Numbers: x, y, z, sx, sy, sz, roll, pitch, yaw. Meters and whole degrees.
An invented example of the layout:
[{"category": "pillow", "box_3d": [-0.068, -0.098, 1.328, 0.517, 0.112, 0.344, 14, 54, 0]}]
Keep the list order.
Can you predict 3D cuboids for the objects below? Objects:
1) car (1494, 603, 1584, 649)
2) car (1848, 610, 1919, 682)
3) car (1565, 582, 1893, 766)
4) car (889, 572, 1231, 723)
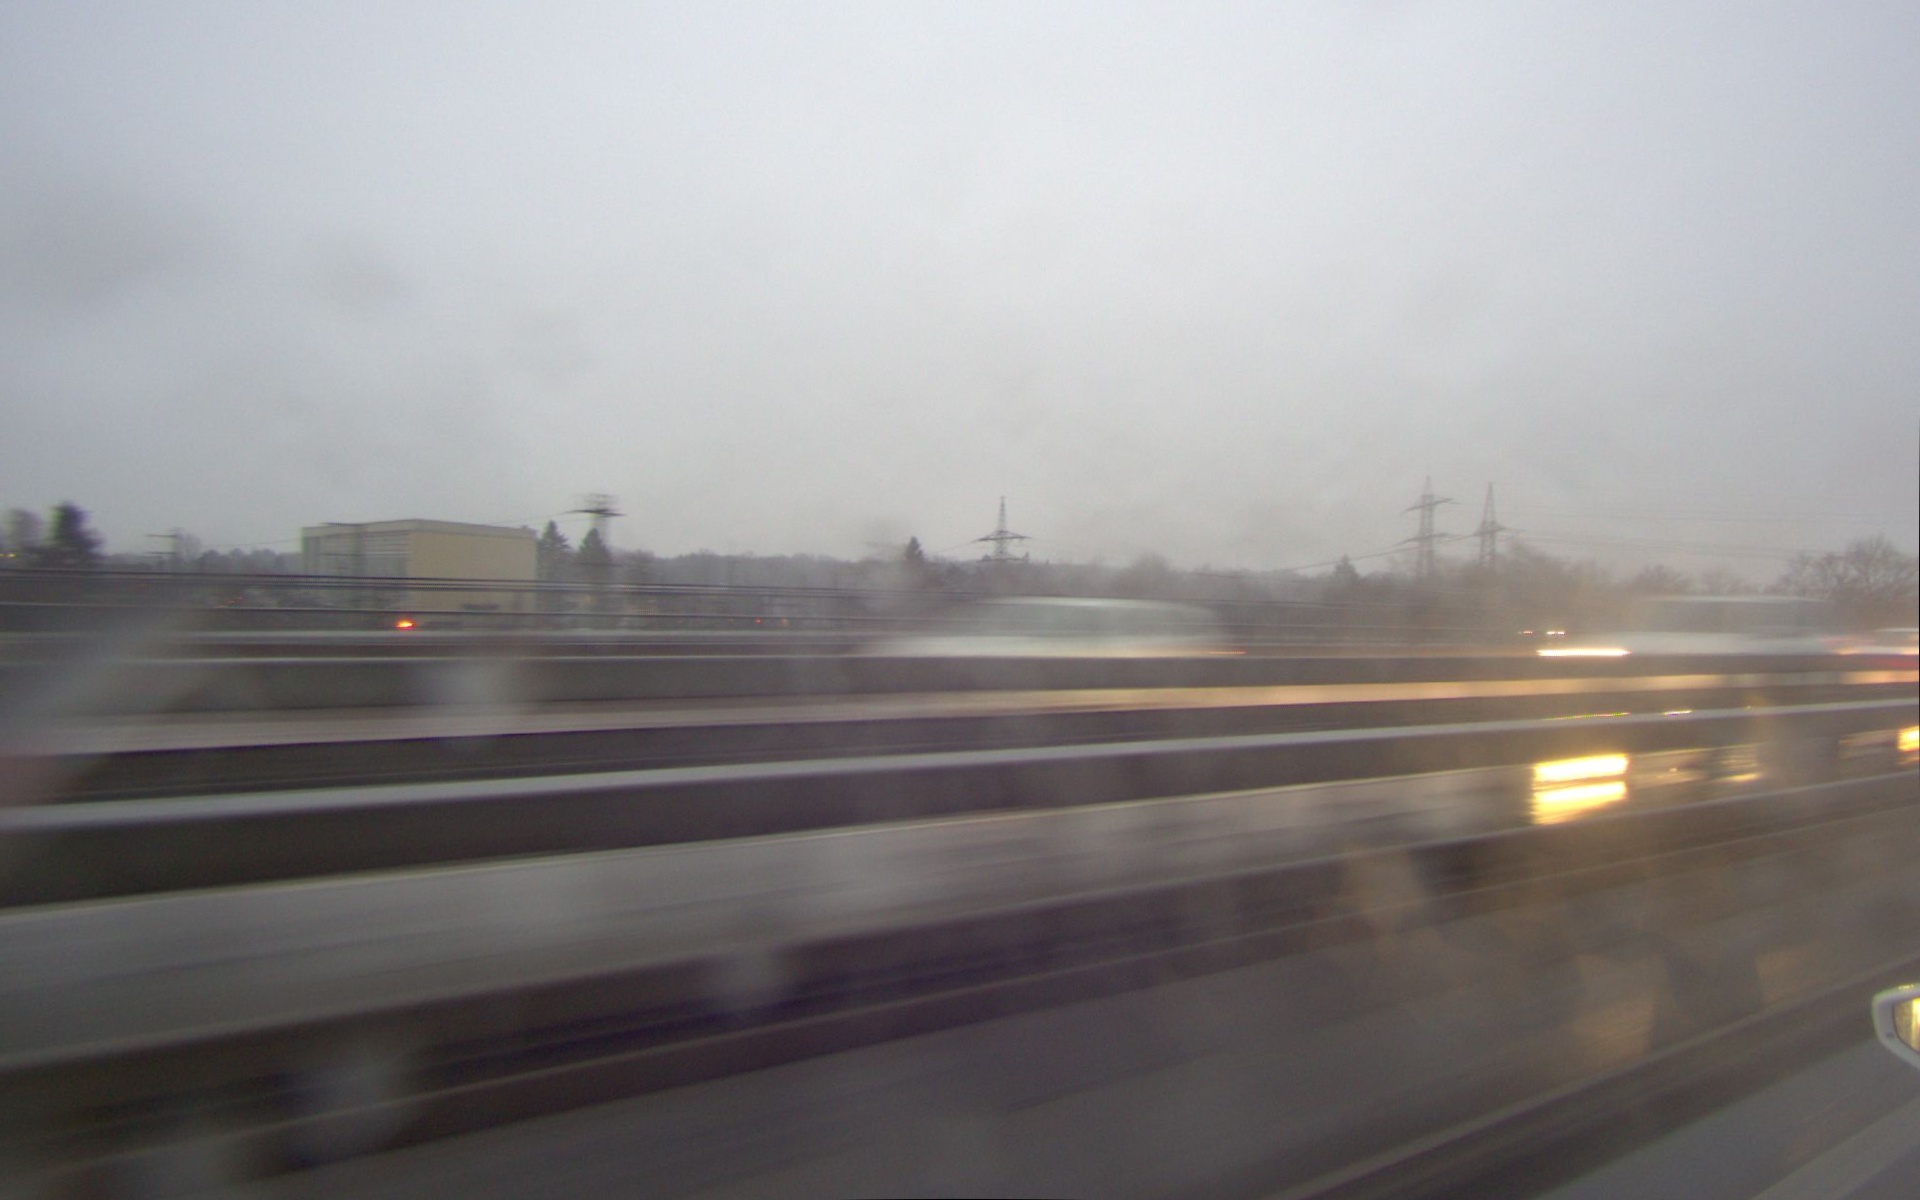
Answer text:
[{"category": "car", "box_3d": [27.353, 1.236, 47.469, 3.953, 2.040, 1.984, 2, 0, -30]}, {"category": "car", "box_3d": [26.159, 1.234, 27.399, 3.953, 1.840, 1.734, 1, 0, -30]}, {"category": "car", "box_3d": [10.668, 0.905, 13.886, 4.409, 2.177, 2.071, 1, 0, -30]}, {"category": "car", "box_3d": [1.265, 0.522, 12.351, 3.877, 1.587, 1.846, 1, 0, -31]}]
